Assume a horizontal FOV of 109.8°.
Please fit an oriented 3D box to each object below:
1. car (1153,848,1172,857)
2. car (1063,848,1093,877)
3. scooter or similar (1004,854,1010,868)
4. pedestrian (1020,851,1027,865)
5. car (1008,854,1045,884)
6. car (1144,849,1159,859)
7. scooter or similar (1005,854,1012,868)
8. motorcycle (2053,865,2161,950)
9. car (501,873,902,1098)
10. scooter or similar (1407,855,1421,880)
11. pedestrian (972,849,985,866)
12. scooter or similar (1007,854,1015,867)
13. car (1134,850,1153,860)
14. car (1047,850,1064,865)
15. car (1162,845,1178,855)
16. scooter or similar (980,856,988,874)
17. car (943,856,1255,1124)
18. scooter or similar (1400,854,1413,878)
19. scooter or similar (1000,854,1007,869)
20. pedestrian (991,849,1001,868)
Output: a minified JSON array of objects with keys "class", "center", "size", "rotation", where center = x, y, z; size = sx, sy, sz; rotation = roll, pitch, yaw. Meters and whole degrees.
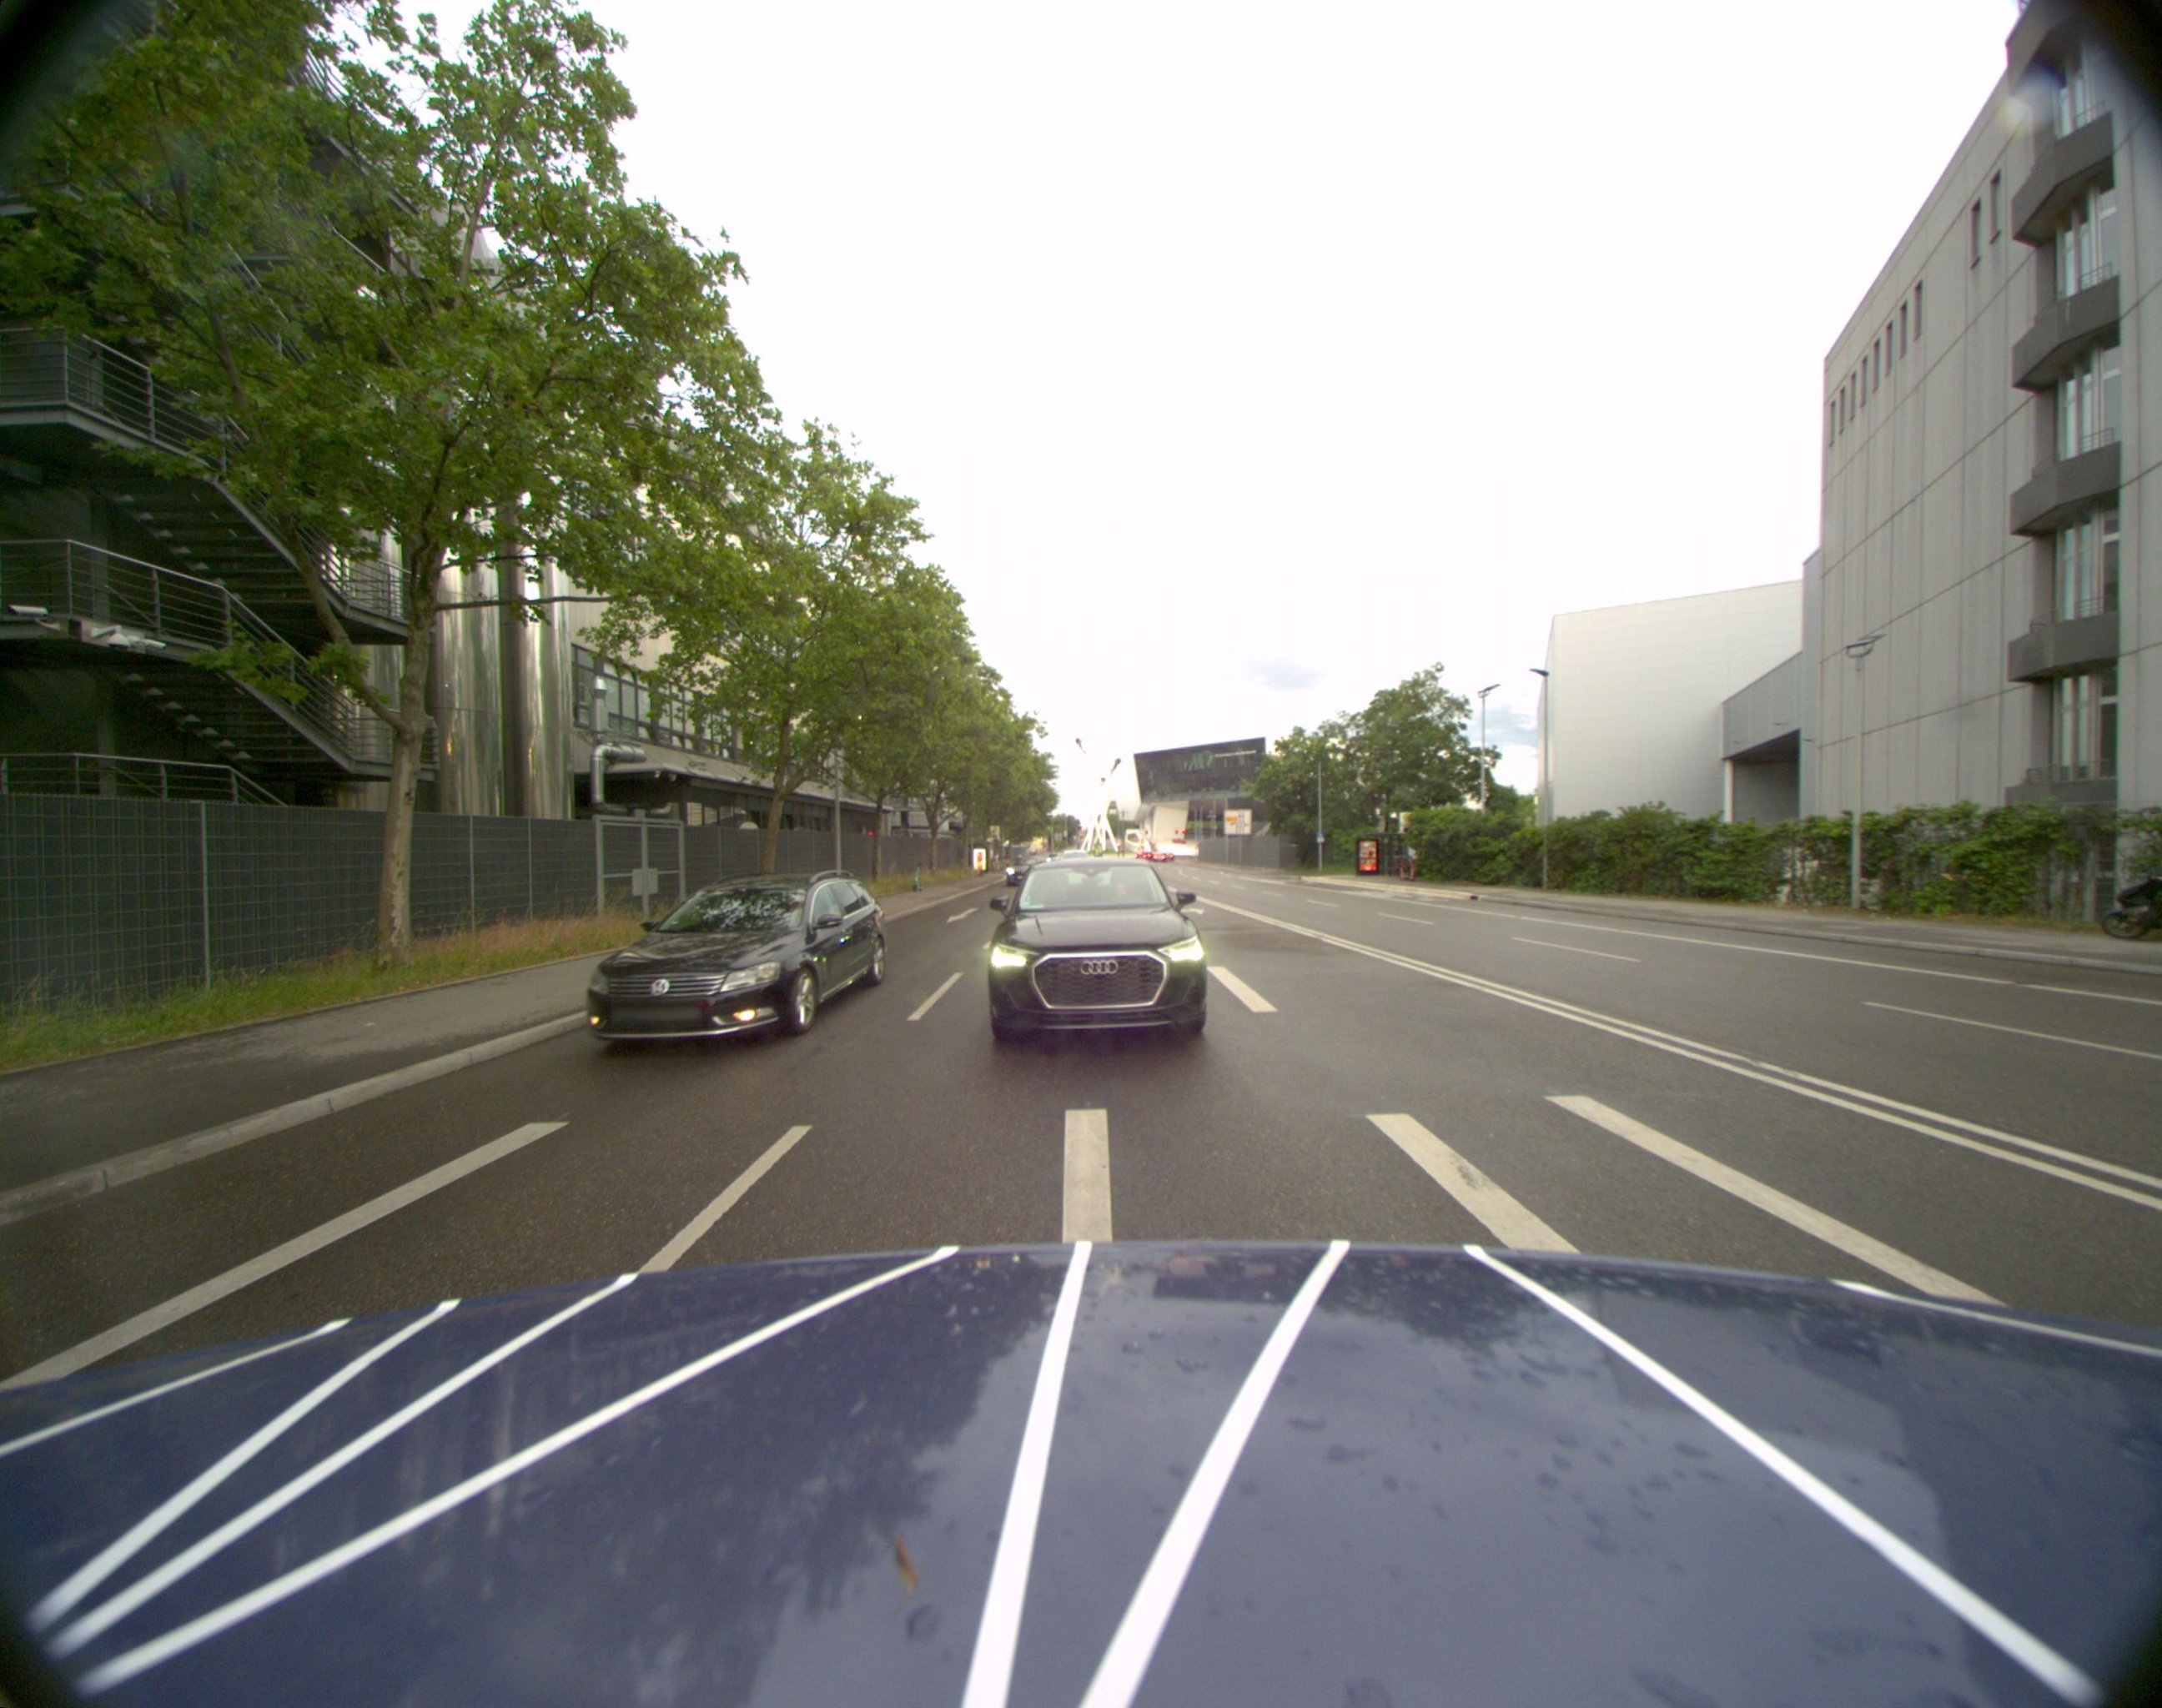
[{"class":"car","center":[12.953,-0.225,120.867],"size":[2.267,1.469,4.052],"rotation":[0,1,18]},{"class":"car","center":[-0.249,0.556,52.577],"size":[1.951,1.879,4.490],"rotation":[0,0,-1]},{"class":"scooter or similar","center":[-6.964,0.688,71.543],"size":[0.437,1.288,1.300],"rotation":[-1,1,3]},{"class":"pedestrian","center":[-6.710,0.505,88.991],"size":[0.723,1.610,0.833],"rotation":[1,2,-1]},{"class":"car","center":[-3.056,0.824,43.270],"size":[1.951,1.610,4.072],"rotation":[0,0,-1]},{"class":"car","center":[11.941,0.072,128.677],"size":[1.878,1.641,3.857],"rotation":[0,0,16]},{"class":"scooter or similar","center":[-7.050,0.672,73.923],"size":[0.437,1.288,1.300],"rotation":[-1,1,3]},{"class":"motorcycle","center":[16.658,0.824,11.625],"size":[0.786,1.243,2.157],"rotation":[-1,1,0]},{"class":"car","center":[-3.338,1.022,7.966],"size":[1.842,1.444,4.785],"rotation":[-2,0,-1]},{"class":"scooter or similar","center":[16.247,0.628,37.087],"size":[0.379,1.174,1.379],"rotation":[0,1,13]},{"class":"pedestrian","center":[-8.600,0.296,63.707],"size":[0.933,1.408,0.698],"rotation":[-1,1,-1]},{"class":"scooter or similar","center":[-6.959,0.657,75.638],"size":[0.437,1.288,1.367],"rotation":[-1,1,7]},{"class":"car","center":[10.063,0.197,122.625],"size":[2.255,1.469,3.884],"rotation":[0,1,18]},{"class":"car","center":[-3.071,0.371,91.370],"size":[1.951,1.767,4.490],"rotation":[0,0,-1]},{"class":"car","center":[14.880,-0.605,127.534],"size":[1.862,1.641,3.792],"rotation":[0,0,19]},{"class":"scooter or similar","center":[-7.005,0.777,54.864],"size":[0.329,1.301,1.246],"rotation":[-1,1,4]},{"class":"car","center":[0.060,0.877,7.510],"size":[1.951,1.609,5.276],"rotation":[-2,0,-1]},{"class":"scooter or similar","center":[16.454,0.619,38.445],"size":[0.389,1.173,1.251],"rotation":[0,1,13]},{"class":"scooter or similar","center":[-7.134,0.675,70.125],"size":[0.437,1.288,1.300],"rotation":[-1,1,3]},{"class":"pedestrian","center":[-7.573,0.420,67.688],"size":[0.778,1.700,0.729],"rotation":[-1,1,-1]}]
